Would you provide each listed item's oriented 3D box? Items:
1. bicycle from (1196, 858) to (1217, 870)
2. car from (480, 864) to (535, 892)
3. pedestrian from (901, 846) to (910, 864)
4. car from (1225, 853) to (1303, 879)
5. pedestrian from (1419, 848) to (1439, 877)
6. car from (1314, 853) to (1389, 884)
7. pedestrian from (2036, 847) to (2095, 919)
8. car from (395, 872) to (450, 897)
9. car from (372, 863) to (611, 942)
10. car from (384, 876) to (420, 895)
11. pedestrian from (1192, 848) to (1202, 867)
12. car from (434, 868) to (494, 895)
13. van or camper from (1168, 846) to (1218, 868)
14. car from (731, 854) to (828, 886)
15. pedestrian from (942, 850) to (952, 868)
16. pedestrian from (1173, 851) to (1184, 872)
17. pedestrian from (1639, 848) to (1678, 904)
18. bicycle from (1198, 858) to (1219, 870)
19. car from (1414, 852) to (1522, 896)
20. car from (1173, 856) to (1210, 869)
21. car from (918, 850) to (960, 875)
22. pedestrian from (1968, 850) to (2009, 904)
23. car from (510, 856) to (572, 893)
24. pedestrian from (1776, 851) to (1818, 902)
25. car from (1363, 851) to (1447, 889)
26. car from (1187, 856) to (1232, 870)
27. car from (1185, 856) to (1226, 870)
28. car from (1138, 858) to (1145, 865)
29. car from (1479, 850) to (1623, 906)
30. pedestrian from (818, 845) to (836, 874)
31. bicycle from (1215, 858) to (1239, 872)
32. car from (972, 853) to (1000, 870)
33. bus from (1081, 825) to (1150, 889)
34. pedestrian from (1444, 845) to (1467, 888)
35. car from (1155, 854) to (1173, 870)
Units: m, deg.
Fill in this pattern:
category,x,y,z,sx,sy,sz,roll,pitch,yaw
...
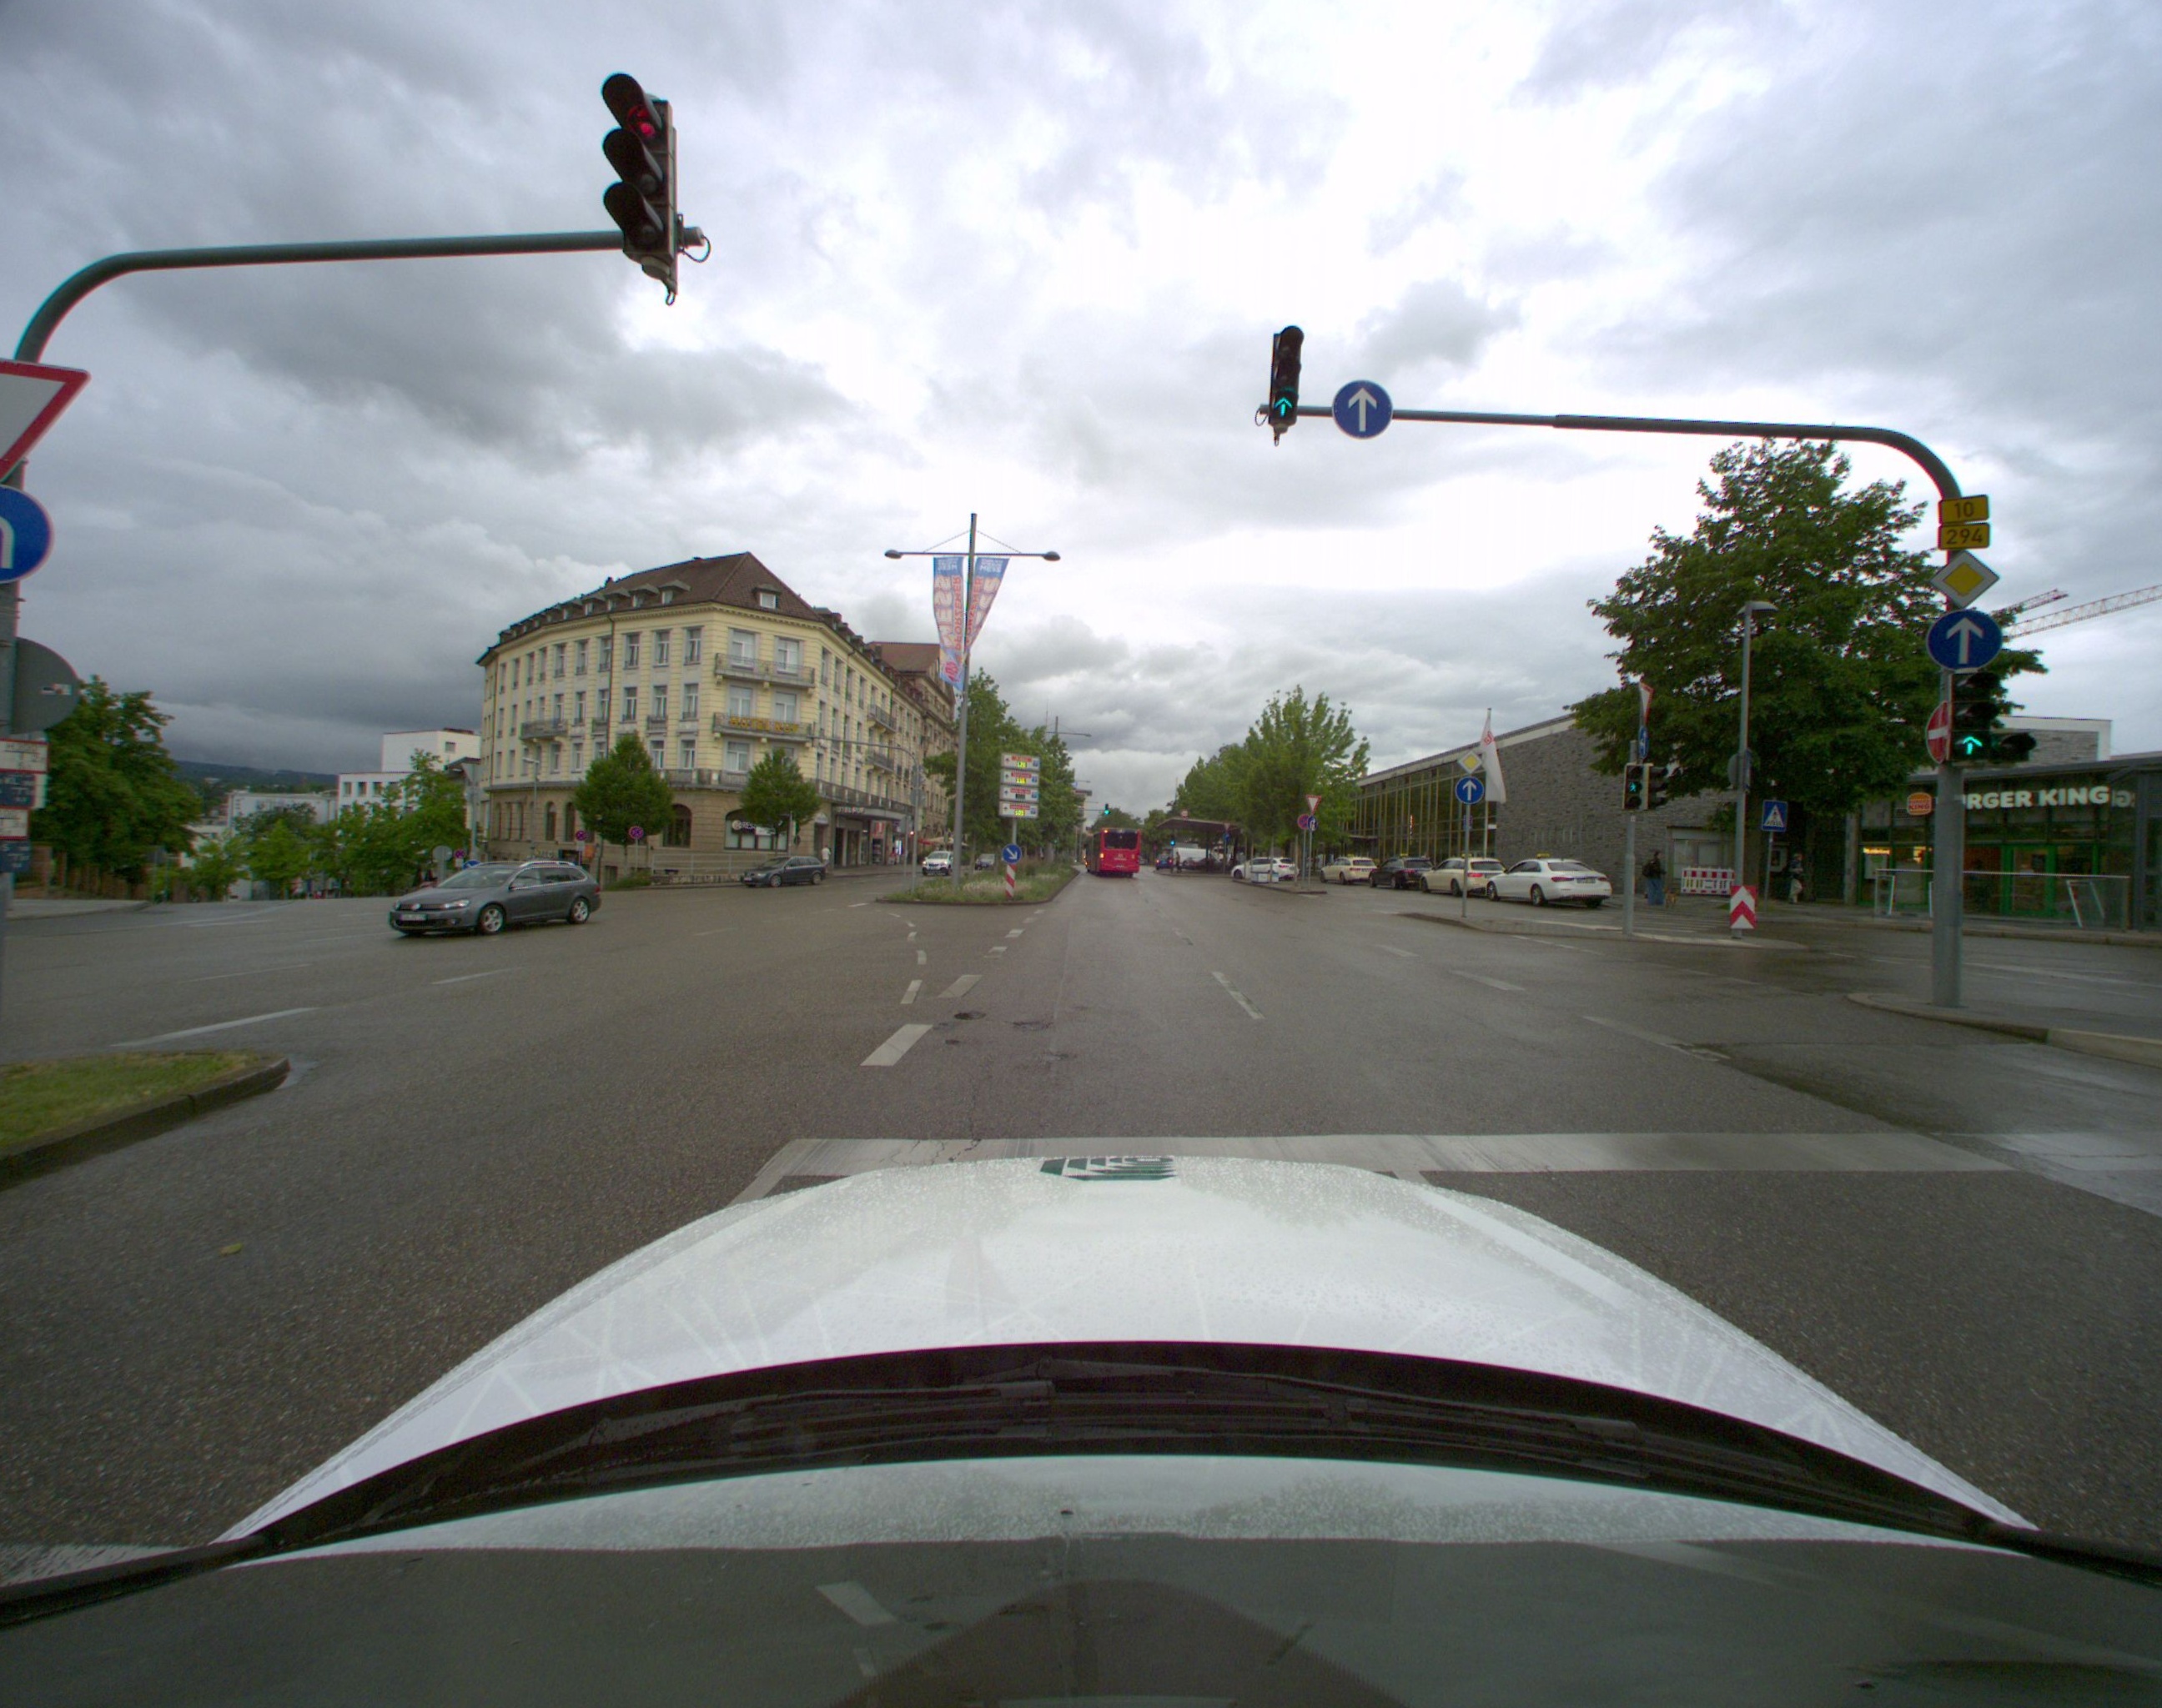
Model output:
category,x,y,z,sx,sy,sz,roll,pitch,yaw
bicycle,11.069,0.911,71.879,1.831,1.056,0.418,0,-1,-17
car,-31.789,1.300,45.095,3.949,1.398,1.645,0,0,42
pedestrian,-16.196,0.118,75.158,0.666,1.664,0.535,0,-1,-7
car,11.419,0.739,51.172,1.772,1.546,4.723,1,-1,-38
pedestrian,18.878,0.458,44.211,0.766,1.580,0.710,0,-1,-2
car,14.674,0.752,44.496,1.991,1.599,4.948,0,0,-6
pedestrian,24.890,0.717,20.599,0.646,1.666,0.772,-7,6,-20
car,-41.429,1.903,51.234,3.958,1.478,1.781,-1,-1,37
car,-12.421,0.945,17.598,1.687,1.465,4.457,0,0,4
car,-55.240,2.528,66.221,3.949,1.478,1.781,-1,-1,43
pedestrian,11.615,0.374,81.259,0.853,1.835,1.190,0,-1,1
car,-36.291,1.595,47.894,3.948,1.478,1.781,-1,-1,37
van or camper,14.127,0.344,102.644,5.976,2.763,2.180,0,-1,-26
car,-14.497,0.742,39.463,1.679,1.465,4.478,-1,-1,26
pedestrian,-12.387,0.433,75.253,0.679,1.664,0.807,0,-1,2
pedestrian,8.014,0.616,66.851,0.745,1.747,0.834,1,-1,-7
pedestrian,17.155,0.637,24.192,0.727,1.626,0.788,0,-1,-43
bicycle,11.166,0.907,71.429,1.831,1.056,0.418,0,-1,-17
car,14.898,0.715,31.705,1.986,1.599,4.961,0,0,2
car,13.144,1.025,96.601,4.006,1.443,1.849,1,-1,-25
car,-9.525,0.543,54.956,1.948,1.618,4.210,0,-1,2
pedestrian,28.499,0.721,25.588,0.713,1.667,0.802,-1,-1,40
car,-27.066,0.992,40.804,3.949,1.759,1.645,0,0,42
pedestrian,23.785,0.727,27.069,0.715,1.667,0.800,-1,-1,12
car,14.972,0.703,37.939,1.987,1.599,4.958,1,0,1
car,12.966,0.912,82.185,4.197,1.325,1.829,1,-1,-18
car,13.109,0.938,85.850,4.010,1.359,1.847,1,-1,-29
car,15.427,1.966,206.699,1.638,1.661,3.652,0,-1,2
car,14.706,0.714,25.842,1.872,1.599,4.905,0,0,2
pedestrian,-16.068,0.340,51.595,0.876,1.813,0.751,0,-1,1
bicycle,11.278,0.860,62.921,1.821,1.056,0.420,0,-1,1
car,-8.465,0.681,72.990,1.948,1.422,4.001,0,-1,2
bus,2.156,0.229,56.240,3.538,3.979,11.153,0,-1,-4
pedestrian,19.218,0.629,41.822,0.794,2.164,0.721,0,-1,-7
car,8.720,0.867,85.395,1.849,1.569,4.006,1,-1,6
